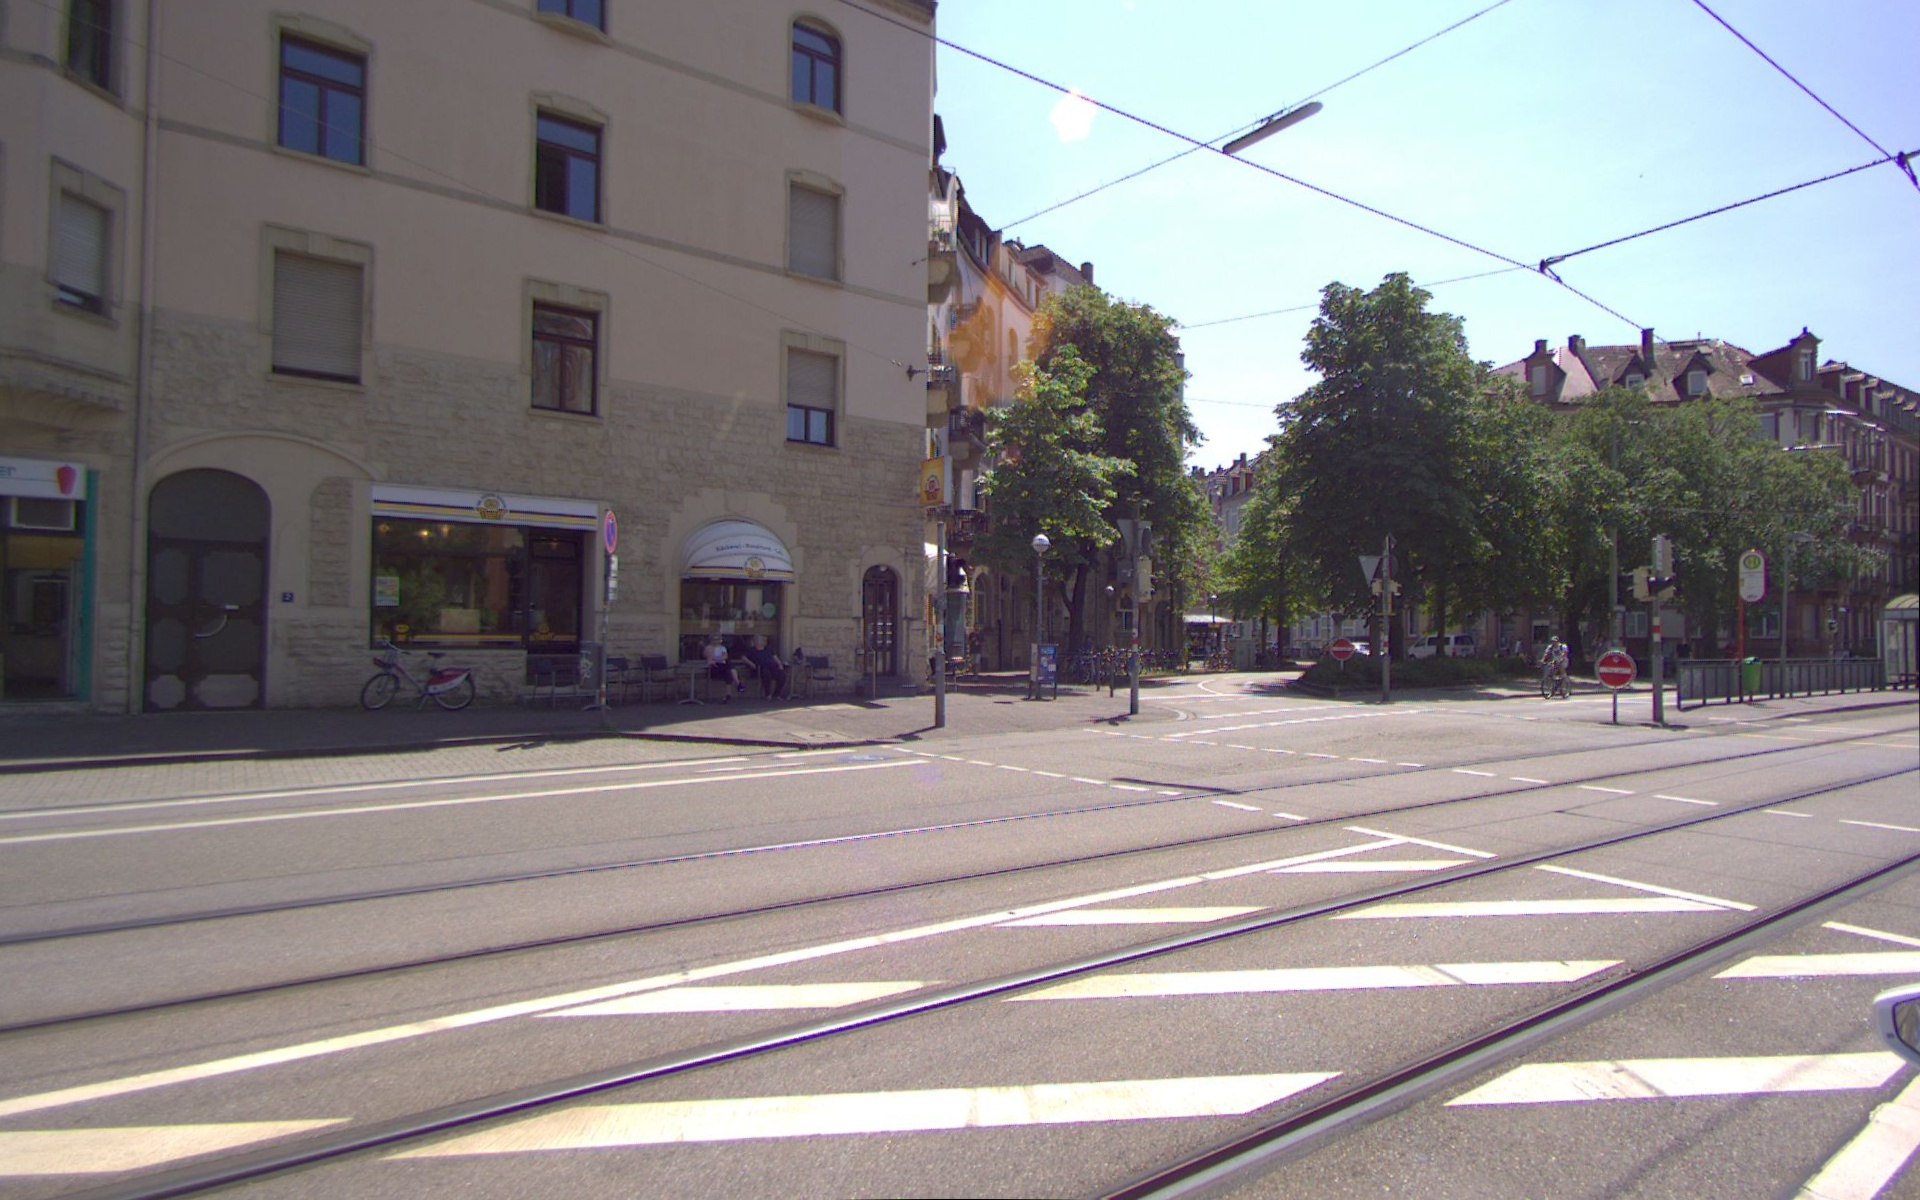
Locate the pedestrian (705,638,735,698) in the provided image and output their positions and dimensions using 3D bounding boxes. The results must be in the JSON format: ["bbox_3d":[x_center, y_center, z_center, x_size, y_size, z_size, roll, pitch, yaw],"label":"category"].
[{"bbox_3d":[-4.525,1.272,18.950,0.402,1.103,0.352,3,-2,-38],"label":"pedestrian"}]

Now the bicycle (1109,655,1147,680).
[{"bbox_3d":[7.035,2.816,42.153,1.649,0.987,0.388,-1,-3,43],"label":"bicycle"}]

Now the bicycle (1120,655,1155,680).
[{"bbox_3d":[7.531,2.861,42.708,1.470,0.969,0.407,-1,-3,45],"label":"bicycle"}]

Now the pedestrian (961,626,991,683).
[{"bbox_3d":[0.494,1.688,31.246,0.721,1.754,0.540,3,-2,-38],"label":"pedestrian"}]

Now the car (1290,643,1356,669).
[{"bbox_3d":[21.877,3.368,60.669,1.522,1.461,3.716,2,-2,-26],"label":"car"}]

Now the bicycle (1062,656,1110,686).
[{"bbox_3d":[4.459,2.505,35.507,1.639,0.987,0.290,1,-2,7],"label":"bicycle"}]

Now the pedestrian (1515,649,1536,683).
[{"bbox_3d":[21.765,2.524,38.656,0.539,1.272,0.646,1,-2,15],"label":"pedestrian"}]

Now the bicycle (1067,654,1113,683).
[{"bbox_3d":[4.720,2.487,36.475,1.639,0.987,0.290,1,-2,7],"label":"bicycle"}]

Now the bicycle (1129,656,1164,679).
[{"bbox_3d":[8.015,2.899,43.224,1.470,0.969,0.407,-1,-3,45],"label":"bicycle"}]

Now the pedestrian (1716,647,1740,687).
[{"bbox_3d":[32.362,2.820,42.327,0.766,1.626,0.674,3,-2,-39],"label":"pedestrian"}]

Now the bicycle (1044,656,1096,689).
[{"bbox_3d":[3.567,2.348,32.555,1.639,0.987,0.290,1,-2,7],"label":"bicycle"}]

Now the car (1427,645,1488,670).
[{"bbox_3d":[31.034,3.562,62.738,1.514,1.461,3.735,2,-2,-10],"label":"car"}]

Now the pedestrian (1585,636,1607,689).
[{"bbox_3d":[22.890,2.238,36.158,0.488,1.904,0.508,2,-2,-30],"label":"pedestrian"}]

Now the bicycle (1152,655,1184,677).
[{"bbox_3d":[9.569,3.028,46.229,1.470,0.969,0.407,-1,-3,45],"label":"bicycle"}]

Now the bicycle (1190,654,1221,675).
[{"bbox_3d":[12.080,3.145,49.361,1.470,0.969,0.407,-1,-3,45],"label":"bicycle"}]

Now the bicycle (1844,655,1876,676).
[{"bbox_3d":[52.385,3.825,58.481,1.489,1.185,0.365,1,-1,4],"label":"bicycle"}]

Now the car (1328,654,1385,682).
[{"bbox_3d":[24.189,4.123,61.429,1.555,1.595,3.581,2,-2,-11],"label":"car"}]

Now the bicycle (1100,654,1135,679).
[{"bbox_3d":[6.469,2.717,41.308,1.470,0.969,0.407,-1,-3,45],"label":"bicycle"}]

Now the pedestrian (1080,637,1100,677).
[{"bbox_3d":[5.797,2.543,44.925,0.618,1.800,0.607,2,-2,-31],"label":"pedestrian"}]

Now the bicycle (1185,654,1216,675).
[{"bbox_3d":[11.735,3.123,48.945,1.470,0.969,0.407,-1,-3,45],"label":"bicycle"}]

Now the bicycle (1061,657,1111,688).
[{"bbox_3d":[4.242,2.439,33.772,1.639,0.987,0.290,1,-2,7],"label":"bicycle"}]

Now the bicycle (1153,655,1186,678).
[{"bbox_3d":[9.304,2.932,44.673,1.470,0.969,0.407,-1,-3,45],"label":"bicycle"}]

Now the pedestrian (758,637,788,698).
[{"bbox_3d":[-3.612,1.305,19.444,0.402,1.163,0.402,3,-2,-38],"label":"pedestrian"}]

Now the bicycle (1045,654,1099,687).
[{"bbox_3d":[3.486,2.189,31.315,1.639,0.987,0.290,1,-2,7],"label":"bicycle"}]

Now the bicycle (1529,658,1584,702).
[{"bbox_3d":[16.905,2.240,28.449,1.959,1.172,0.624,2,-2,-36],"label":"bicycle"}]

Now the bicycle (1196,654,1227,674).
[{"bbox_3d":[12.483,3.162,49.810,1.470,0.969,0.407,-1,-3,45],"label":"bicycle"}]

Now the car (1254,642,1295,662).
[{"bbox_3d":[26.774,4.438,85.611,1.728,1.639,3.993,1,-2,-10],"label":"car"}]

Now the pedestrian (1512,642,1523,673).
[{"bbox_3d":[33.756,3.465,60.840,0.555,1.849,0.634,0,-2,33],"label":"pedestrian"}]

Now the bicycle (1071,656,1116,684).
[{"bbox_3d":[4.916,2.576,36.981,1.639,0.987,0.290,1,-2,7],"label":"bicycle"}]

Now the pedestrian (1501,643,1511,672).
[{"bbox_3d":[33.515,3.518,61.624,0.499,1.791,0.528,0,-2,33],"label":"pedestrian"}]

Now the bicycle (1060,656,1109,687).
[{"bbox_3d":[4.224,2.415,34.105,1.639,0.987,0.290,1,-2,7],"label":"bicycle"}]

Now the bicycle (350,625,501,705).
[{"bbox_3d":[-8.530,1.044,16.108,2.046,1.241,0.454,2,-2,-16],"label":"bicycle"}]

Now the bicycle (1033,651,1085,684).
[{"bbox_3d":[3.168,2.167,32.236,1.639,0.987,0.290,1,-2,7],"label":"bicycle"}]

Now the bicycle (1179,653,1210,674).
[{"bbox_3d":[11.321,3.079,48.535,1.470,0.969,0.407,-1,-3,45],"label":"bicycle"}]

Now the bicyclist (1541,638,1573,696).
[{"bbox_3d":[16.894,1.883,28.428,0.579,1.594,0.604,3,-2,-35],"label":"bicyclist"}]
